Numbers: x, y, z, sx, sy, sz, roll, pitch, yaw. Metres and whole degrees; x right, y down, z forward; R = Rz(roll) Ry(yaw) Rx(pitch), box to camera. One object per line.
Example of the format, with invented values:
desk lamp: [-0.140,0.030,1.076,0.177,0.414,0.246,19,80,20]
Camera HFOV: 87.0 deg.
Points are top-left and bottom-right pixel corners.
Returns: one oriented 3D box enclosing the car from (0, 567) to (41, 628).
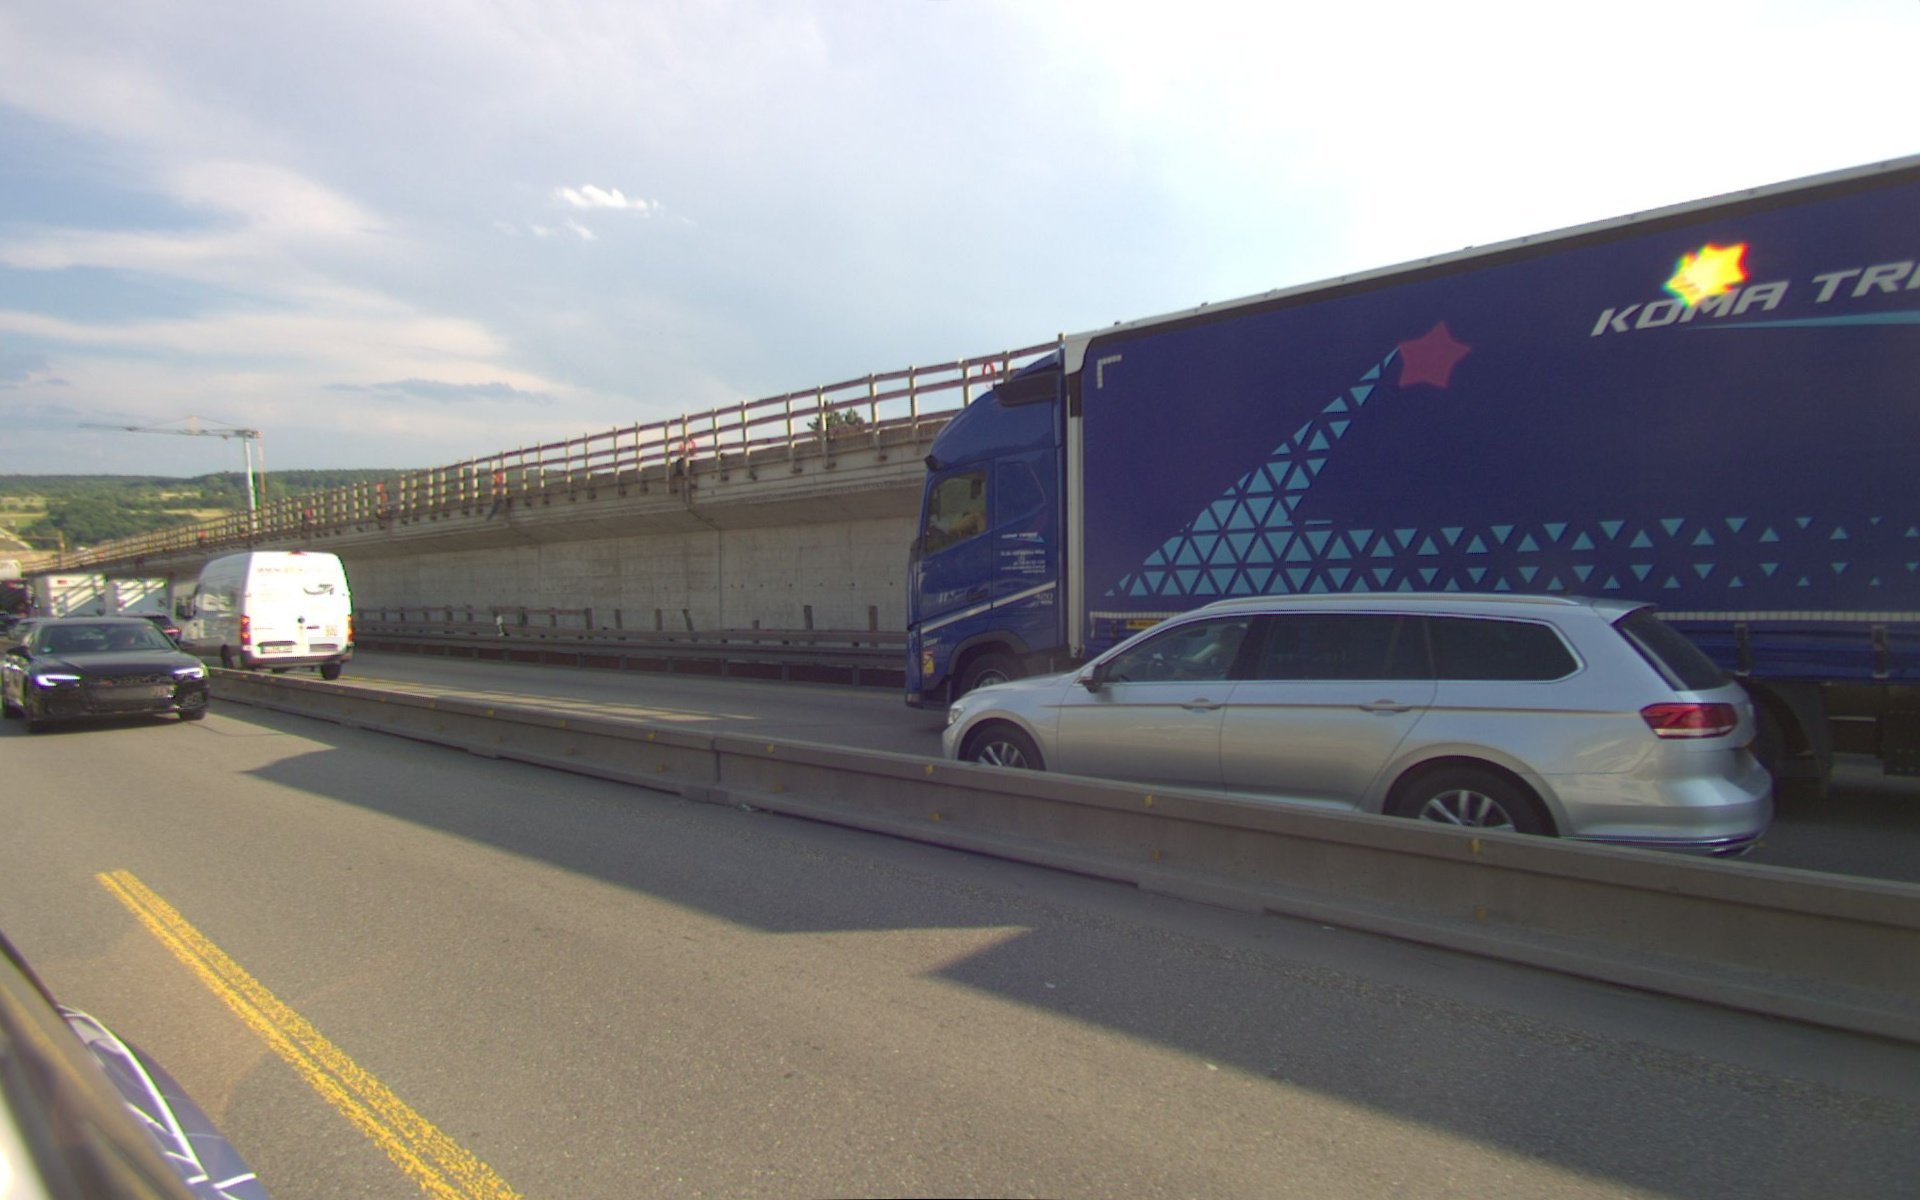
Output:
car: [-89.427,-0.159,95.095,14.298,5.427,3.283,-1,0,43]

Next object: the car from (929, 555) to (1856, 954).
car: [2.106,0.581,5.886,4.589,1.451,1.724,-1,2,41]

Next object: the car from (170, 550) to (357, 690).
car: [-14.947,0.420,21.571,5.611,2.636,1.975,-1,-1,41]

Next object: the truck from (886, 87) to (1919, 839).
truck: [4.102,-0.762,8.806,10.574,4.290,2.787,-1,0,41]

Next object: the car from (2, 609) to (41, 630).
car: [-68.405,1.417,73.738,3.663,1.329,1.690,-1,3,42]

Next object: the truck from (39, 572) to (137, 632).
truck: [-49.522,0.126,57.417,6.485,3.169,3.202,-1,0,40]

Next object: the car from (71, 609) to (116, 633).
car: [-56.237,1.357,65.647,3.663,1.329,1.690,-1,3,42]

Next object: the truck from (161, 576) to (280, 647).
truck: [-27.557,0.430,37.616,6.062,2.317,2.251,-1,3,42]

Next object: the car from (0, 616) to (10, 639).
car: [-59.843,1.724,62.219,3.663,1.329,1.690,-1,3,42]

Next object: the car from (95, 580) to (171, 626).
car: [-40.766,0.155,49.858,3.972,2.037,2.186,-1,3,42]

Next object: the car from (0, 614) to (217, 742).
car: [-12.452,0.976,14.436,5.219,1.491,1.920,-1,-1,41]

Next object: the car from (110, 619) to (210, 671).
car: [-24.206,1.312,30.570,3.663,1.329,1.690,-1,3,42]

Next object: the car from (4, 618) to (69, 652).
car: [-41.442,1.548,45.395,3.663,1.329,1.690,-1,3,42]
